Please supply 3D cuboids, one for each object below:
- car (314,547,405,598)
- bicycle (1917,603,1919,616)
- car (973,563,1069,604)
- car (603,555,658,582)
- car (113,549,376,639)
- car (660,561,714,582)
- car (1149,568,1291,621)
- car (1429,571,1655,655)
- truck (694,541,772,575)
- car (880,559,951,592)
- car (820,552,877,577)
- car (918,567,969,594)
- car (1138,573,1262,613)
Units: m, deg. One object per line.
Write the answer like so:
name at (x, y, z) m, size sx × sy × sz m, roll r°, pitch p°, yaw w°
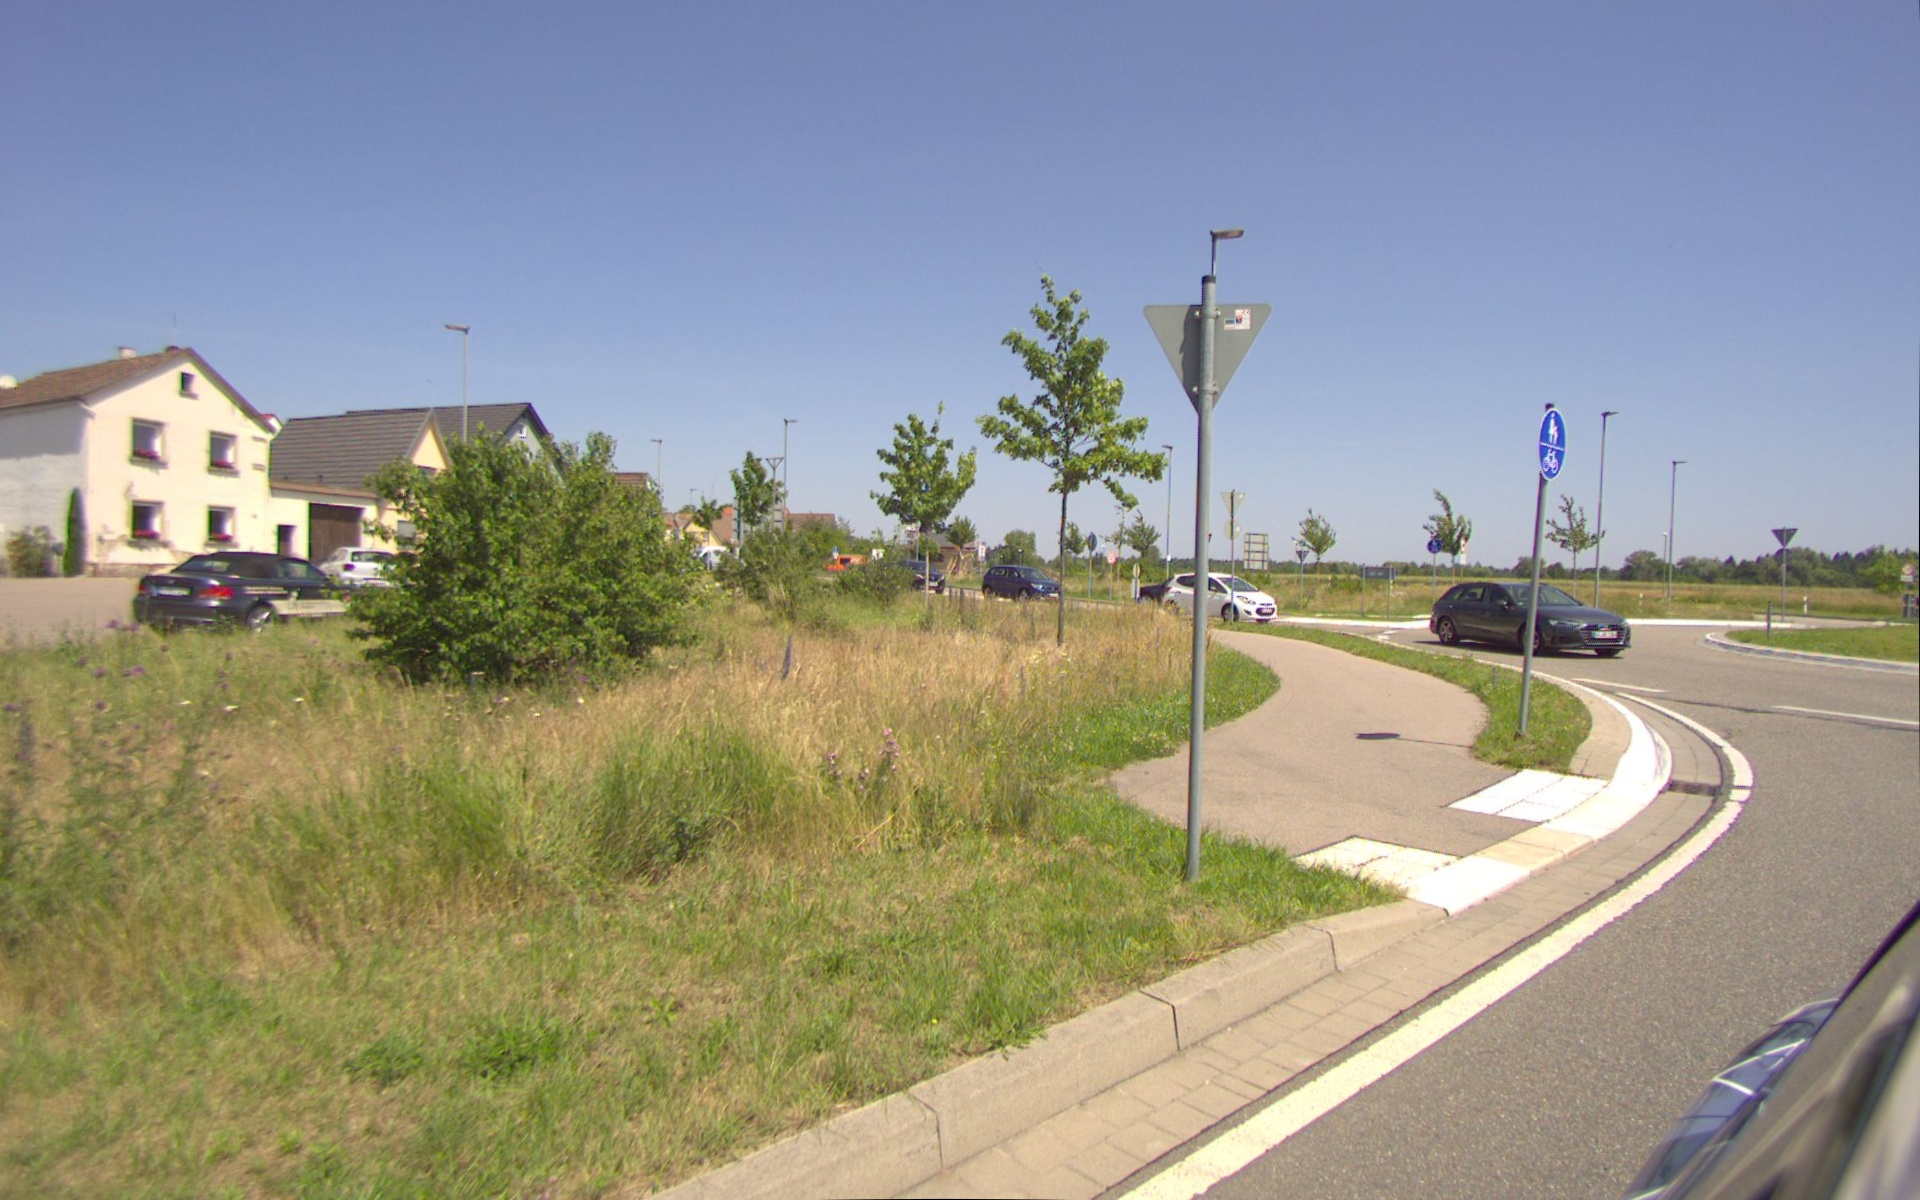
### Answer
car at (-18.258, -0.851, 30.689) m, size 1.622 × 1.410 × 3.994 m, roll 0°, pitch 2°, yaw -42°
bicycle at (54.042, 0.552, 56.053) m, size 0.567 × 0.738 × 1.472 m, roll 1°, pitch 2°, yaw -6°
car at (2.502, -0.744, 42.476) m, size 1.690 × 1.581 × 4.150 m, roll -1°, pitch 3°, yaw -38°
car at (-19.626, -1.867, 60.467) m, size 1.820 × 1.514 × 3.998 m, roll 2°, pitch 2°, yaw 2°
car at (-12.035, -0.153, 17.388) m, size 1.714 × 1.327 × 4.001 m, roll 2°, pitch 2°, yaw 0°
car at (-18.967, -1.966, 70.532) m, size 1.831 × 1.368 × 3.744 m, roll 2°, pitch 2°, yaw 19°
car at (8.577, -0.238, 33.725) m, size 1.833 × 1.581 × 4.524 m, roll 0°, pitch 3°, yaw -33°
car at (11.915, 0.172, 21.152) m, size 1.832 × 1.451 × 4.527 m, roll 0°, pitch 3°, yaw -4°
truck at (-17.834, -3.281, 79.621) m, size 5.521 × 2.537 × 2.241 m, roll 1°, pitch 2°, yaw -28°
car at (-2.325, -1.275, 51.718) m, size 1.831 × 1.581 × 4.734 m, roll 0°, pitch 2°, yaw -27°
car at (-12.783, -4.084, 115.934) m, size 6.058 × 2.616 × 2.342 m, roll 2°, pitch 1°, yaw 19°
car at (-1.101, -1.303, 65.523) m, size 1.859 × 1.636 × 4.008 m, roll 1°, pitch 1°, yaw -24°
car at (10.301, -0.325, 43.629) m, size 4.859 × 1.670 × 1.928 m, roll 1°, pitch 1°, yaw 36°
